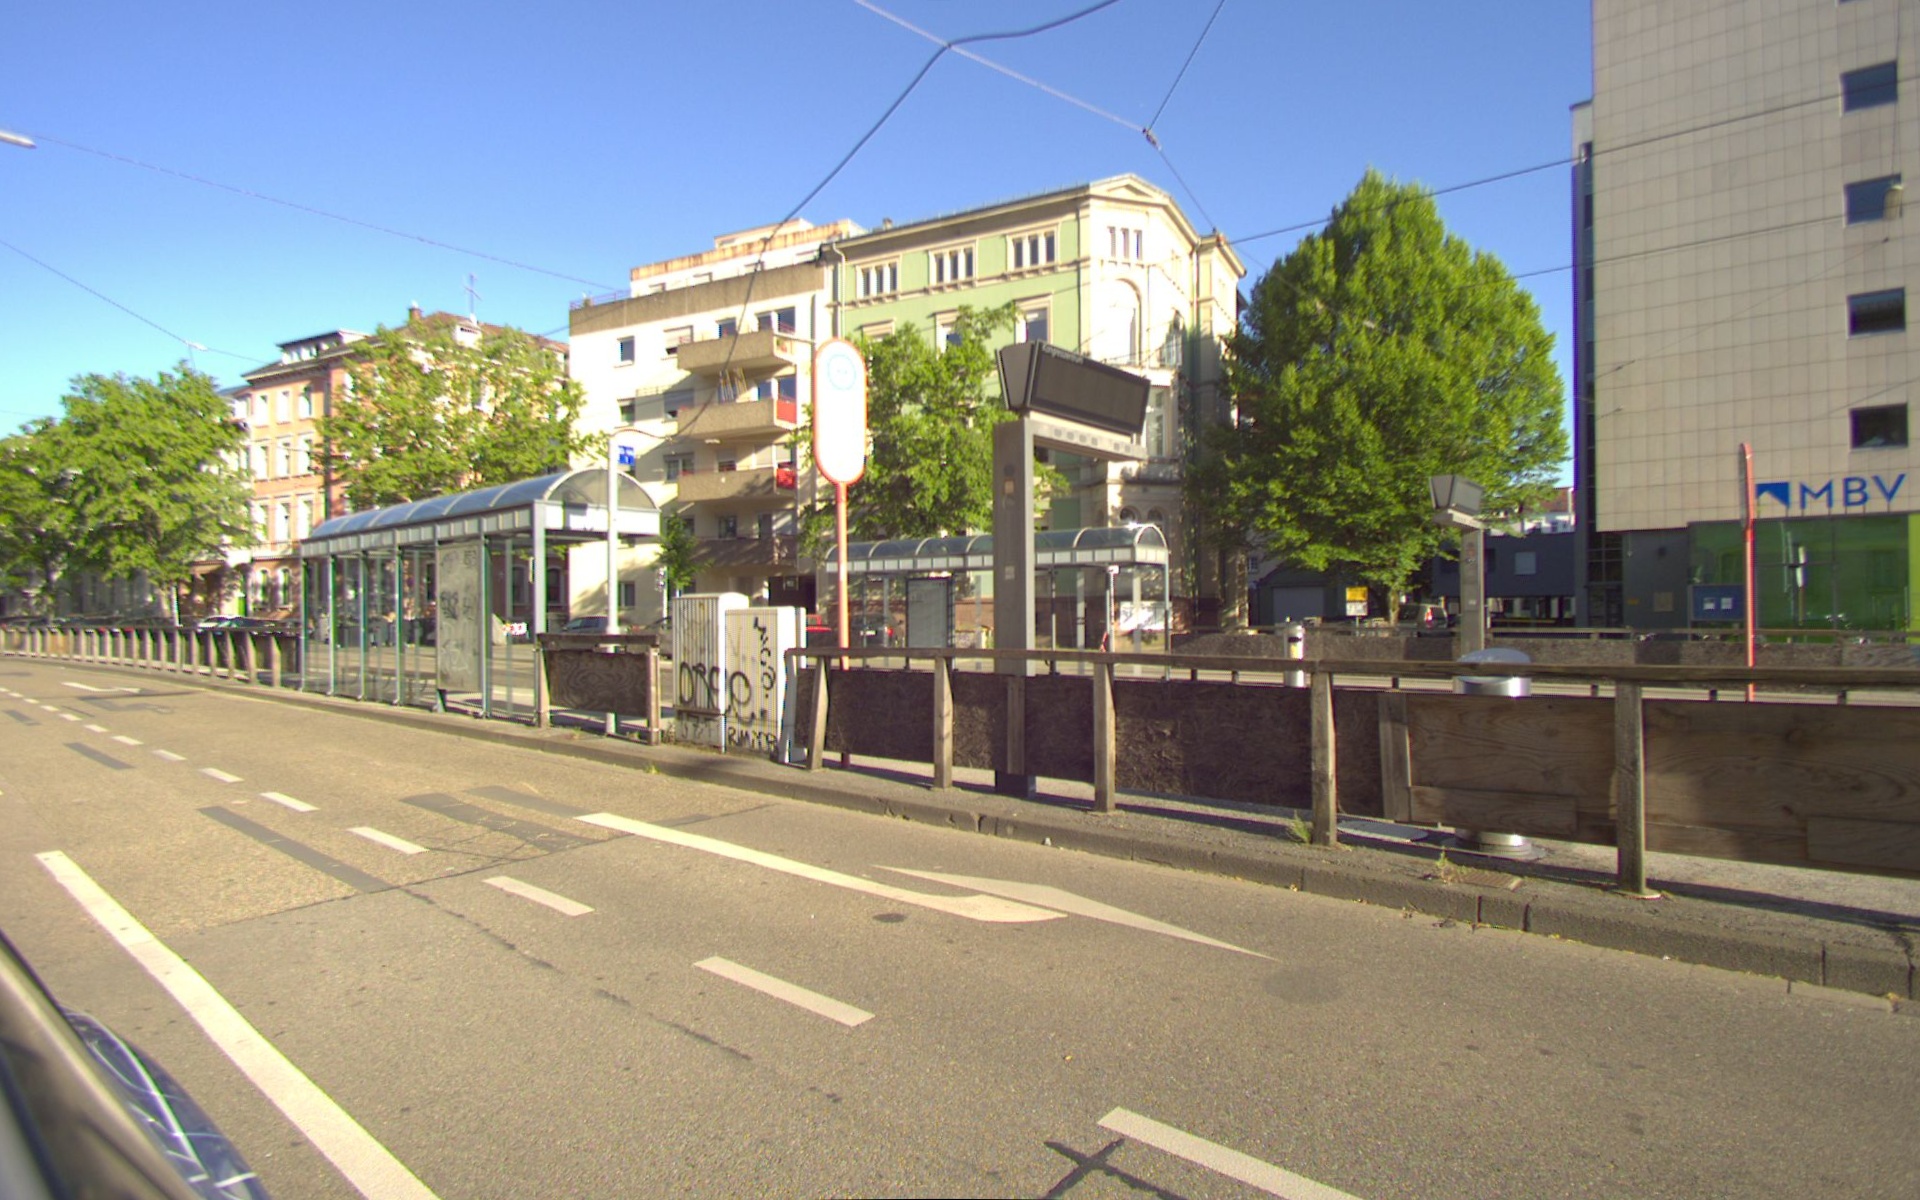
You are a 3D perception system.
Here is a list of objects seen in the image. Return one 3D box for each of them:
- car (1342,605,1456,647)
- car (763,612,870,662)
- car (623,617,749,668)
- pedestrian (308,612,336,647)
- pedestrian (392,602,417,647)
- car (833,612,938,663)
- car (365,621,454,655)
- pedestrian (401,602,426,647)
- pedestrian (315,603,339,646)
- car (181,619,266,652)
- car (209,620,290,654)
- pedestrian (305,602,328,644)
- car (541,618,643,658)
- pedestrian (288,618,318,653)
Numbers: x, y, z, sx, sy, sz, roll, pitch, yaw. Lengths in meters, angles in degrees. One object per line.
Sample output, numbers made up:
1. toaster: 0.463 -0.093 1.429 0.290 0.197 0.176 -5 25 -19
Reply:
1. car: 15.778 0.897 36.468 1.544 1.423 3.430 -1 0 -38
2. car: -4.825 1.244 34.519 1.754 1.594 3.965 -1 -1 26
3. car: -8.556 1.293 31.534 3.990 1.500 1.629 -1 -2 35
4. pedestrian: -31.892 1.474 50.577 1.016 1.733 0.846 -1 -2 32
5. pedestrian: -27.832 1.228 50.705 0.753 2.224 0.804 -1 -2 30
6. car: -2.391 1.212 33.471 1.754 1.594 3.965 -1 -1 26
7. car: -23.706 1.616 43.565 3.986 1.407 1.592 -1 -2 32
8. pedestrian: -27.083 1.218 50.142 0.753 2.224 0.804 -1 -2 30
9. pedestrian: -33.037 1.296 52.805 0.753 2.224 0.804 -1 -2 30
10. car: -39.560 1.882 54.472 1.825 1.721 4.130 0 -1 -5
11. car: -30.976 1.583 44.096 3.870 1.419 1.650 -1 -2 35
12. pedestrian: -34.250 1.206 53.892 0.755 2.224 0.803 -1 -2 36
13. car: -14.034 1.419 38.548 3.725 1.438 1.637 -1 -1 29
14. pedestrian: -30.614 1.646 47.133 0.888 1.641 0.859 -1 -2 31
